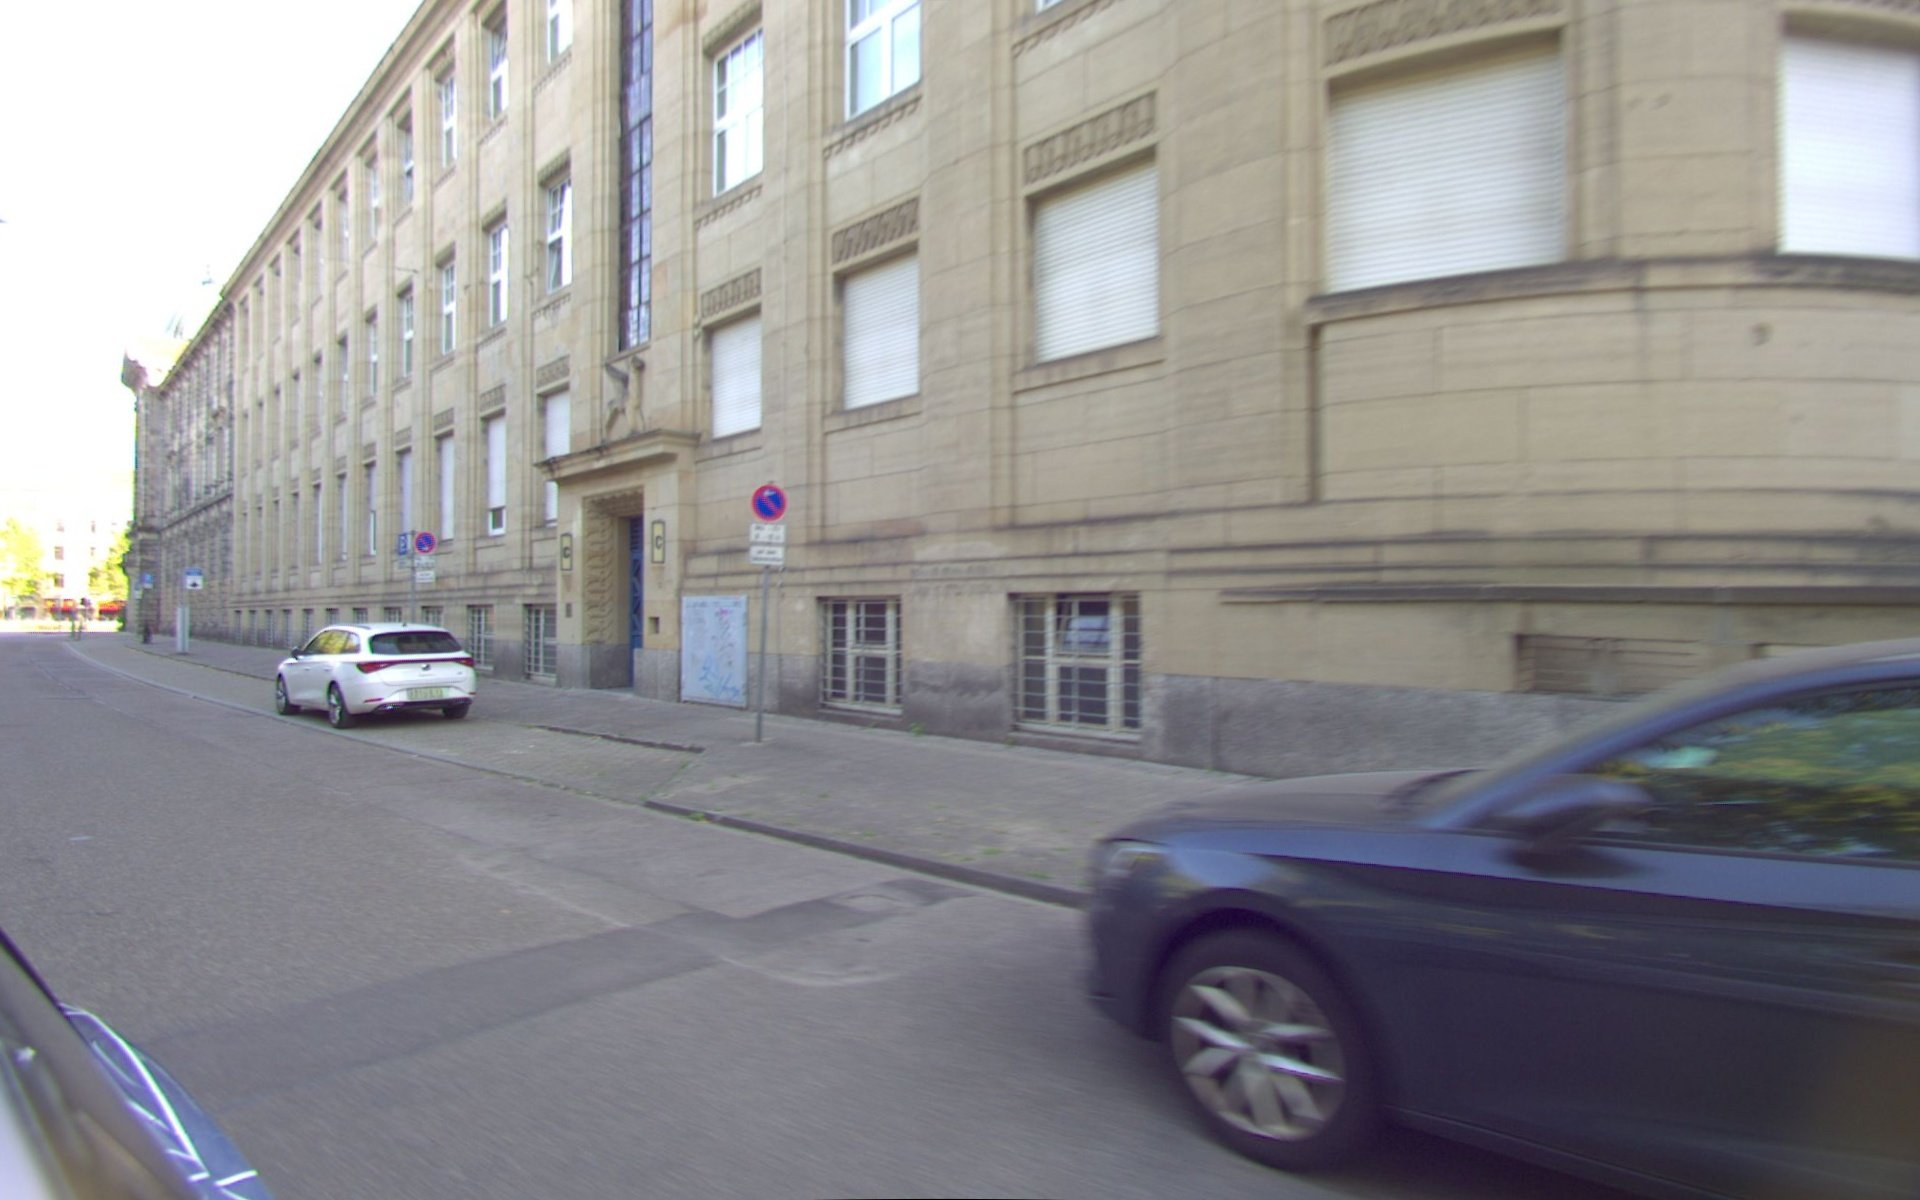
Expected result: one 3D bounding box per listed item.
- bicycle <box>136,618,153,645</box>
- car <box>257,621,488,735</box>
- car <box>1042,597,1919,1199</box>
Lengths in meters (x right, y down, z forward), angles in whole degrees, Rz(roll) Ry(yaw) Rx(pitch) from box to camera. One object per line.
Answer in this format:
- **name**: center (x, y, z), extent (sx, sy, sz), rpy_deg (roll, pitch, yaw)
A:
- **bicycle**: center (-38.372, 1.476, 47.625), extent (0.451, 1.218, 1.882), rpy_deg (1, -2, -35)
- **car**: center (-8.991, 1.055, 15.317), extent (4.560, 1.446, 1.725), rpy_deg (-1, -1, 42)
- **car**: center (2.376, 0.744, 2.420), extent (4.208, 1.459, 1.724), rpy_deg (-1, -2, 43)
